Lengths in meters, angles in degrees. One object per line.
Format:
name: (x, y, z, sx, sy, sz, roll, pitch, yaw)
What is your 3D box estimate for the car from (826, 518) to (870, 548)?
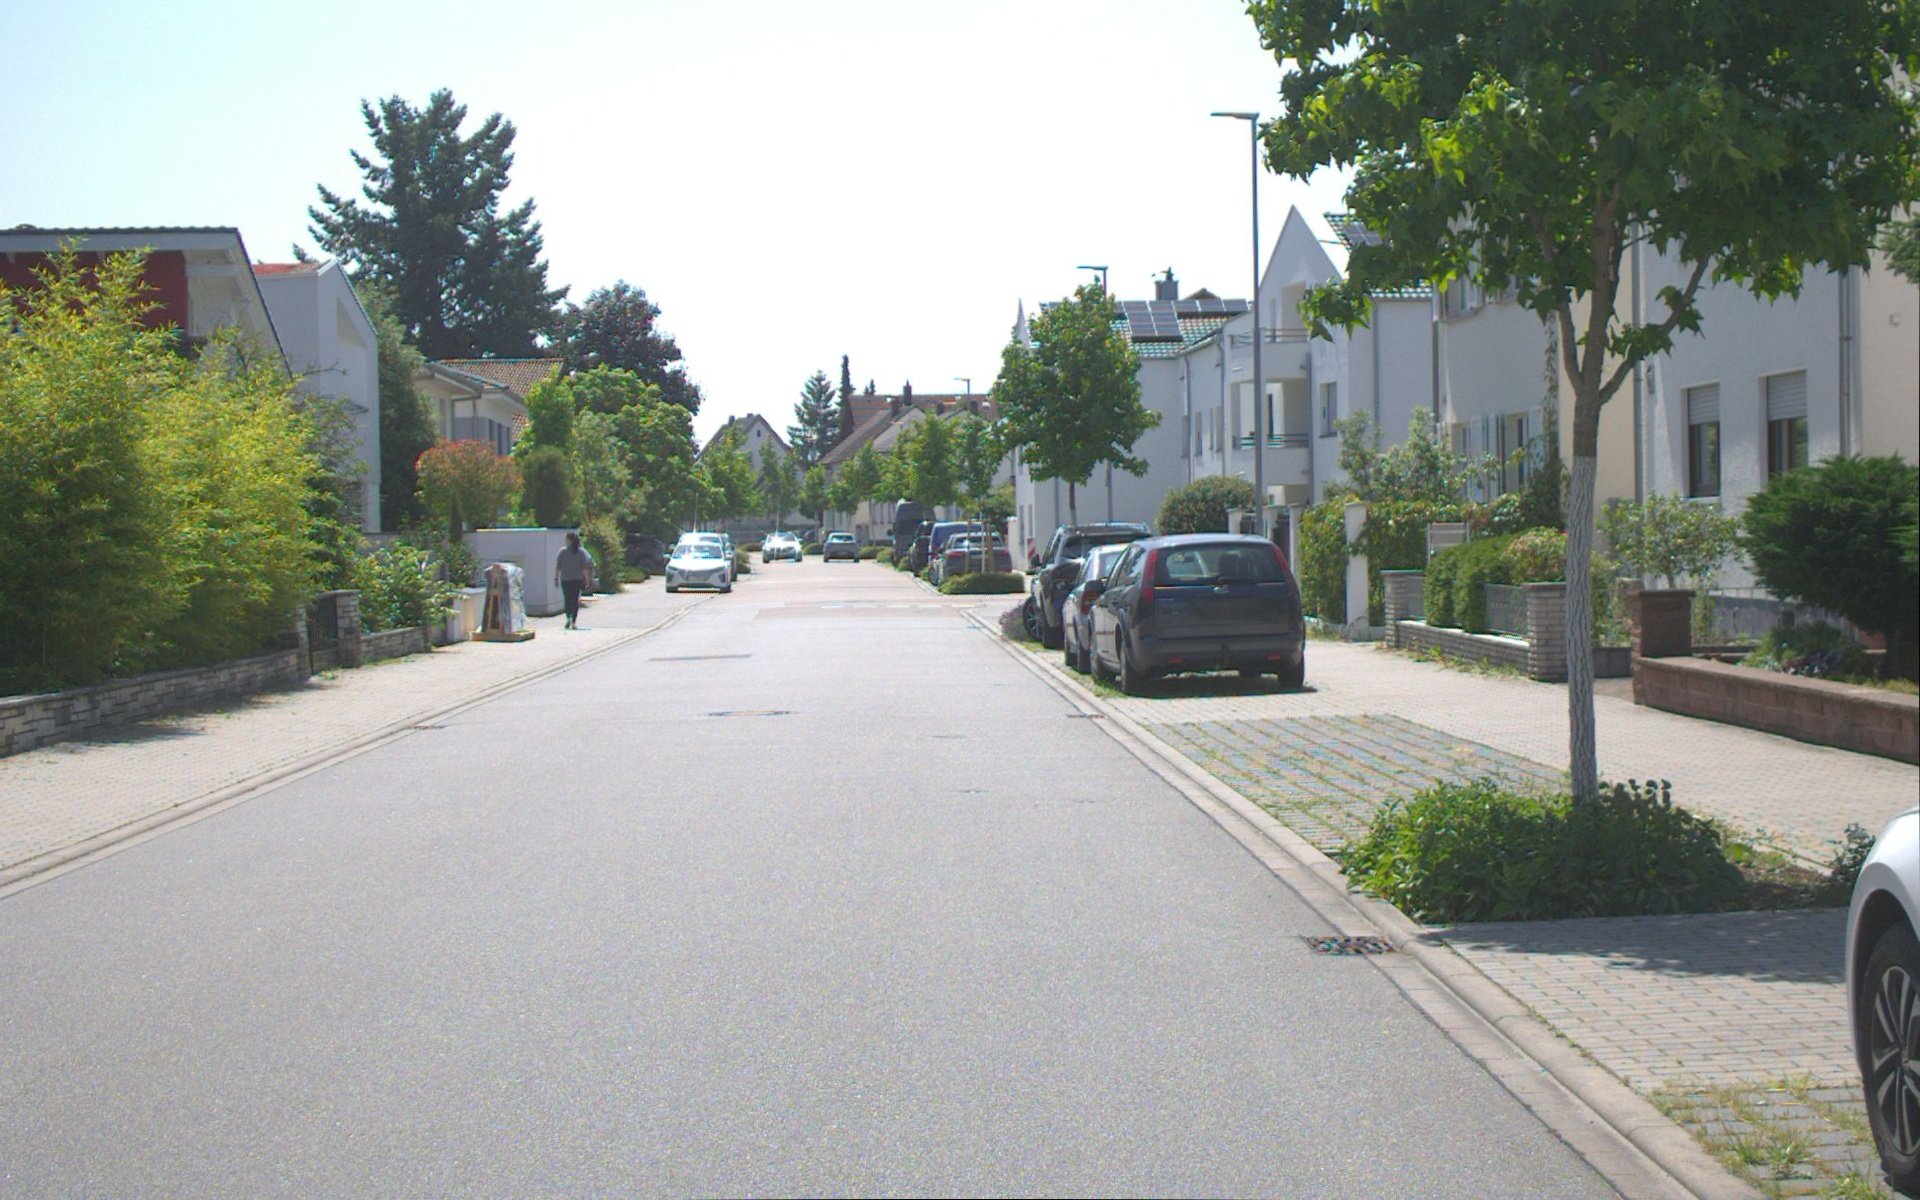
car: (-5.484, -3.302, 168.737, 1.993, 1.425, 4.000, -2, 1, 0)

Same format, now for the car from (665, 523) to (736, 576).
car: (-7.546, -1.491, 100.385, 1.852, 1.483, 4.386, -1, 1, -2)

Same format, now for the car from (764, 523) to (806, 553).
car: (-8.848, -3.133, 173.987, 1.853, 1.473, 4.700, -1, 1, 0)

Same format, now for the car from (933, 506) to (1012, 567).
car: (0.301, -1.713, 92.199, 1.773, 1.590, 4.280, -1, 1, -4)

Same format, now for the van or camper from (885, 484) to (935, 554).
van or camper: (-2.163, -3.491, 147.900, 1.993, 2.931, 4.001, -1, 1, -2)

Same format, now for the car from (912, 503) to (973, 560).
car: (-0.647, -2.465, 123.079, 1.993, 1.940, 5.215, -2, 1, -2)

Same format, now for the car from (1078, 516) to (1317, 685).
car: (2.267, -0.046, 33.874, 1.741, 1.528, 4.450, -1, 1, -4)

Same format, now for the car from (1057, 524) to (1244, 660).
car: (2.133, -0.130, 39.496, 1.814, 1.415, 4.093, -1, 2, -1)

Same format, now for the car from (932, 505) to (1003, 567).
car: (0.213, -2.041, 108.843, 2.099, 1.875, 4.843, -1, 1, -1)

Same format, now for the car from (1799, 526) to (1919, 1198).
car: (2.968, 0.572, 6.216, 1.814, 1.415, 3.868, -1, 2, -2)

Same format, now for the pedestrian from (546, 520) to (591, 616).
pedestrian: (-7.175, -0.598, 63.073, 0.714, 1.741, 0.961, -1, 1, -2)

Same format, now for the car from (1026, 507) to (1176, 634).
car: (1.950, -0.463, 48.725, 1.814, 1.650, 4.565, -1, 2, -1)
